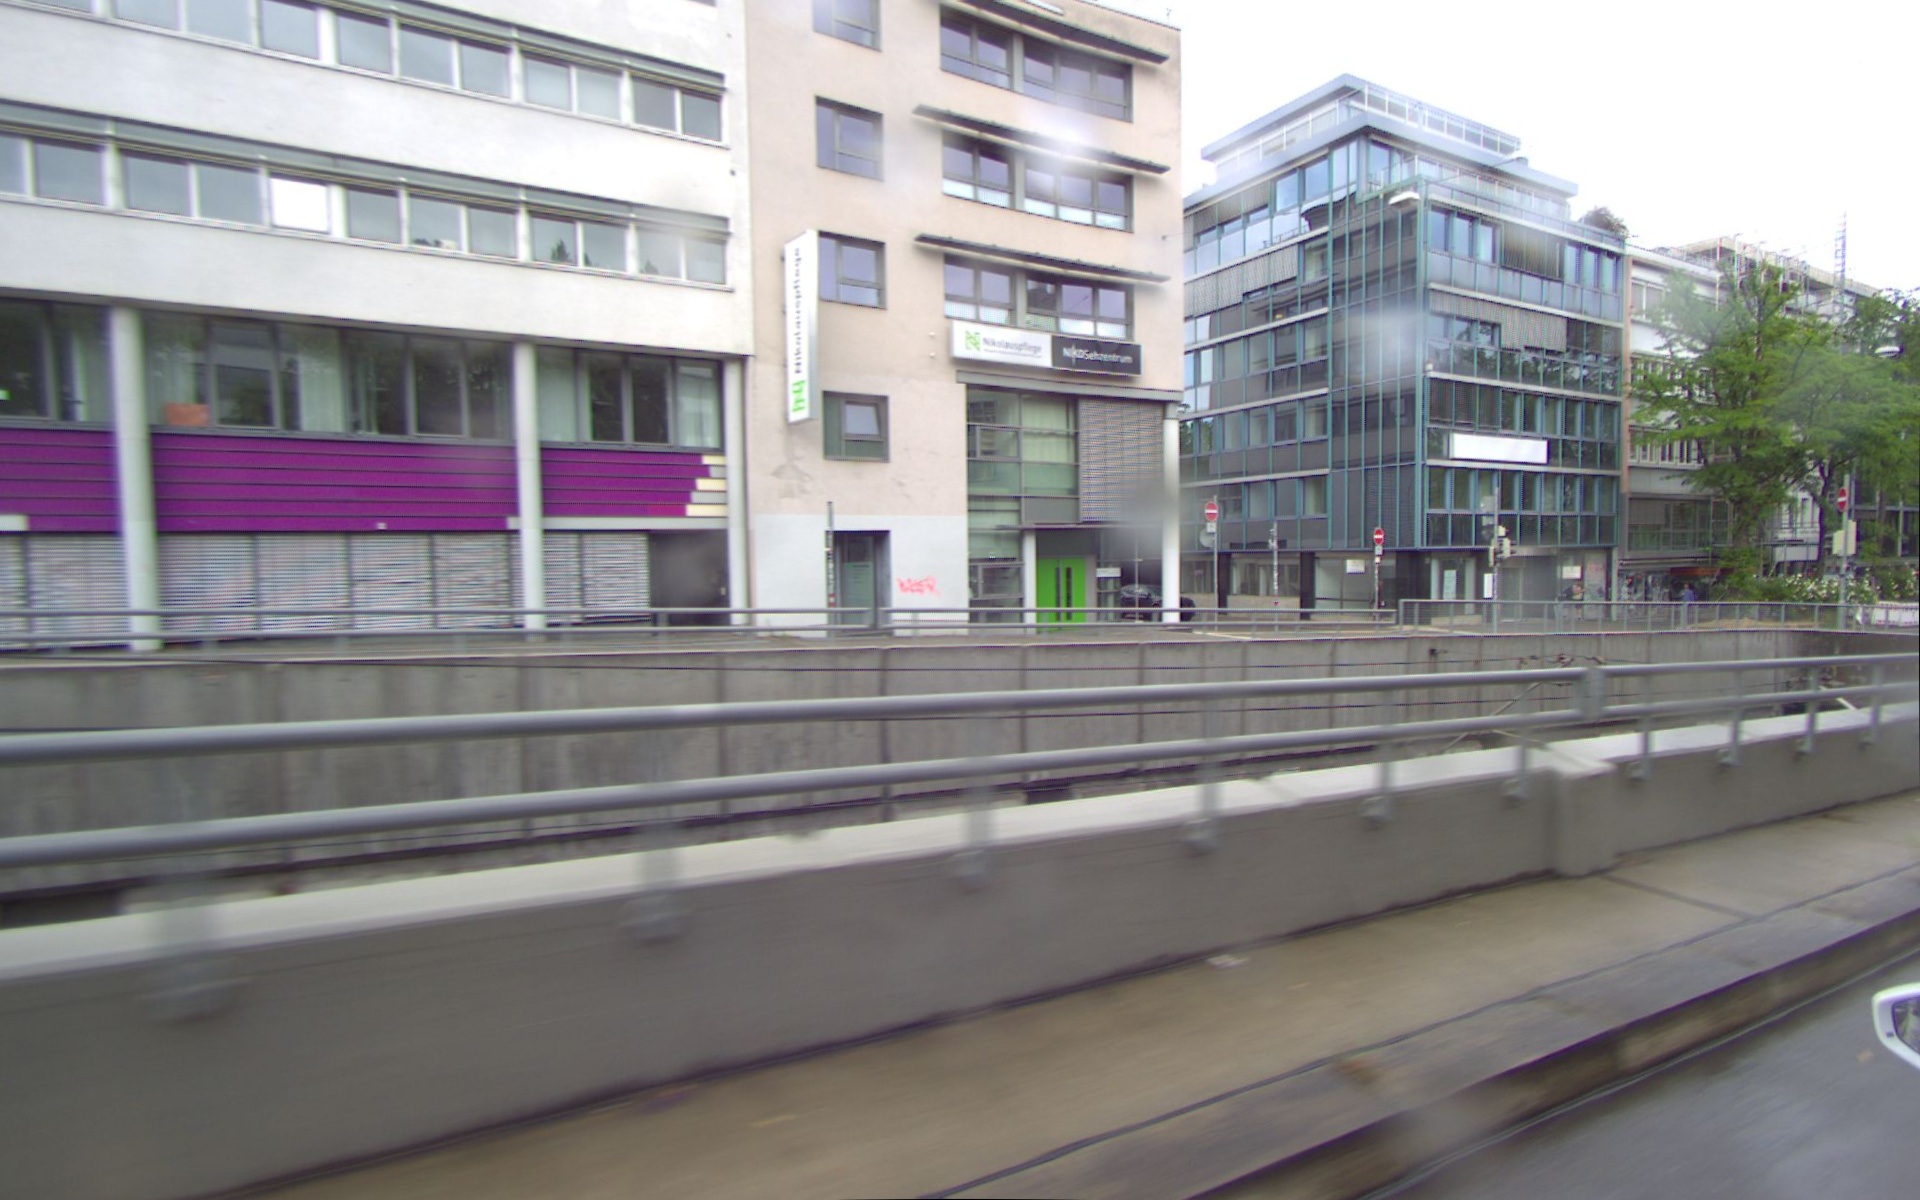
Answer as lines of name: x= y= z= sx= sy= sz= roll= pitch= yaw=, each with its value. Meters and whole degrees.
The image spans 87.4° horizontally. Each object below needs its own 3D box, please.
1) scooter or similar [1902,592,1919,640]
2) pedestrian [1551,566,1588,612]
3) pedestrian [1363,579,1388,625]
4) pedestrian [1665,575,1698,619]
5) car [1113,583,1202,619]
scooter or similar: x=29.604 y=0.521 z=30.079 sx=0.541 sy=1.438 sz=1.940 roll=0 pitch=2 yaw=-28
pedestrian: x=25.708 y=-0.470 z=42.386 sx=0.943 sy=1.894 sz=0.865 roll=1 pitch=2 yaw=-11
pedestrian: x=15.466 y=0.054 z=37.379 sx=0.482 sy=1.694 sz=0.661 roll=0 pitch=2 yaw=-31
pedestrian: x=32.024 y=-0.136 z=44.608 sx=0.857 sy=1.894 sz=0.872 roll=0 pitch=3 yaw=-32
car: x=8.575 y=0.016 z=43.927 sx=1.788 sy=1.445 sz=3.868 roll=0 pitch=1 yaw=-28
